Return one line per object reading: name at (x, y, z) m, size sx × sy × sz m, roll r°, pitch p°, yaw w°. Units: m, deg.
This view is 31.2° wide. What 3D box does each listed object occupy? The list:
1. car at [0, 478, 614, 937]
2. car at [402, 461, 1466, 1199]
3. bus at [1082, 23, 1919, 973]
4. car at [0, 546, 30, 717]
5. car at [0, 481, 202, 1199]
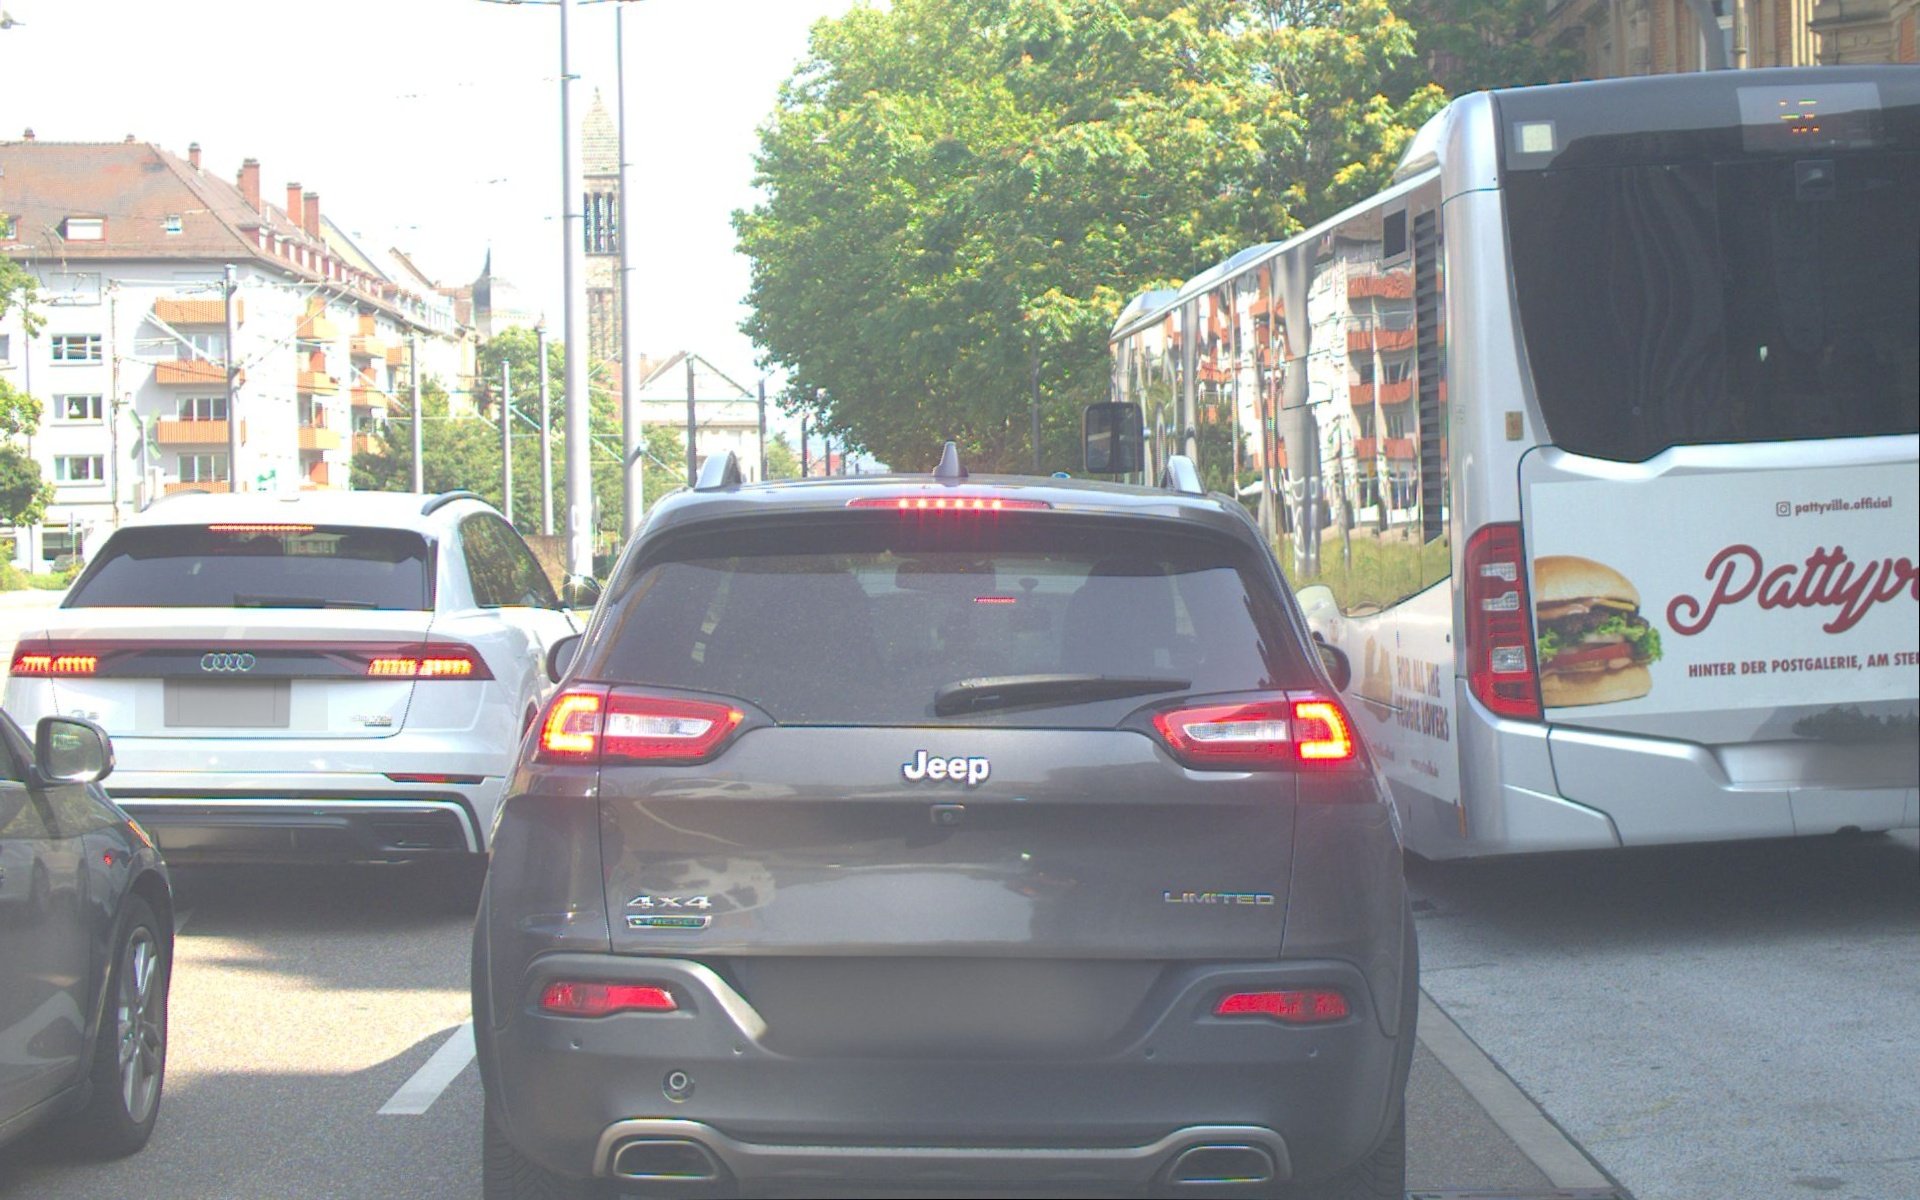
car at (-2.611, 0.337, 14.507) m, size 1.902 × 1.646 × 4.309 m, roll 0°, pitch 1°, yaw 0°
car at (-0.027, 0.542, 8.110) m, size 1.832 × 1.646 × 4.308 m, roll 0°, pitch 1°, yaw 1°
bus at (2.625, -0.458, 17.557) m, size 2.743 × 3.096 × 11.957 m, roll -3°, pitch 1°, yaw -3°
car at (-8.893, 0.333, 27.745) m, size 1.746 × 1.430 × 4.574 m, roll -2°, pitch 2°, yaw -4°
car at (-2.810, 0.564, 6.699) m, size 1.747 × 1.609 × 4.309 m, roll 0°, pitch 1°, yaw 0°
